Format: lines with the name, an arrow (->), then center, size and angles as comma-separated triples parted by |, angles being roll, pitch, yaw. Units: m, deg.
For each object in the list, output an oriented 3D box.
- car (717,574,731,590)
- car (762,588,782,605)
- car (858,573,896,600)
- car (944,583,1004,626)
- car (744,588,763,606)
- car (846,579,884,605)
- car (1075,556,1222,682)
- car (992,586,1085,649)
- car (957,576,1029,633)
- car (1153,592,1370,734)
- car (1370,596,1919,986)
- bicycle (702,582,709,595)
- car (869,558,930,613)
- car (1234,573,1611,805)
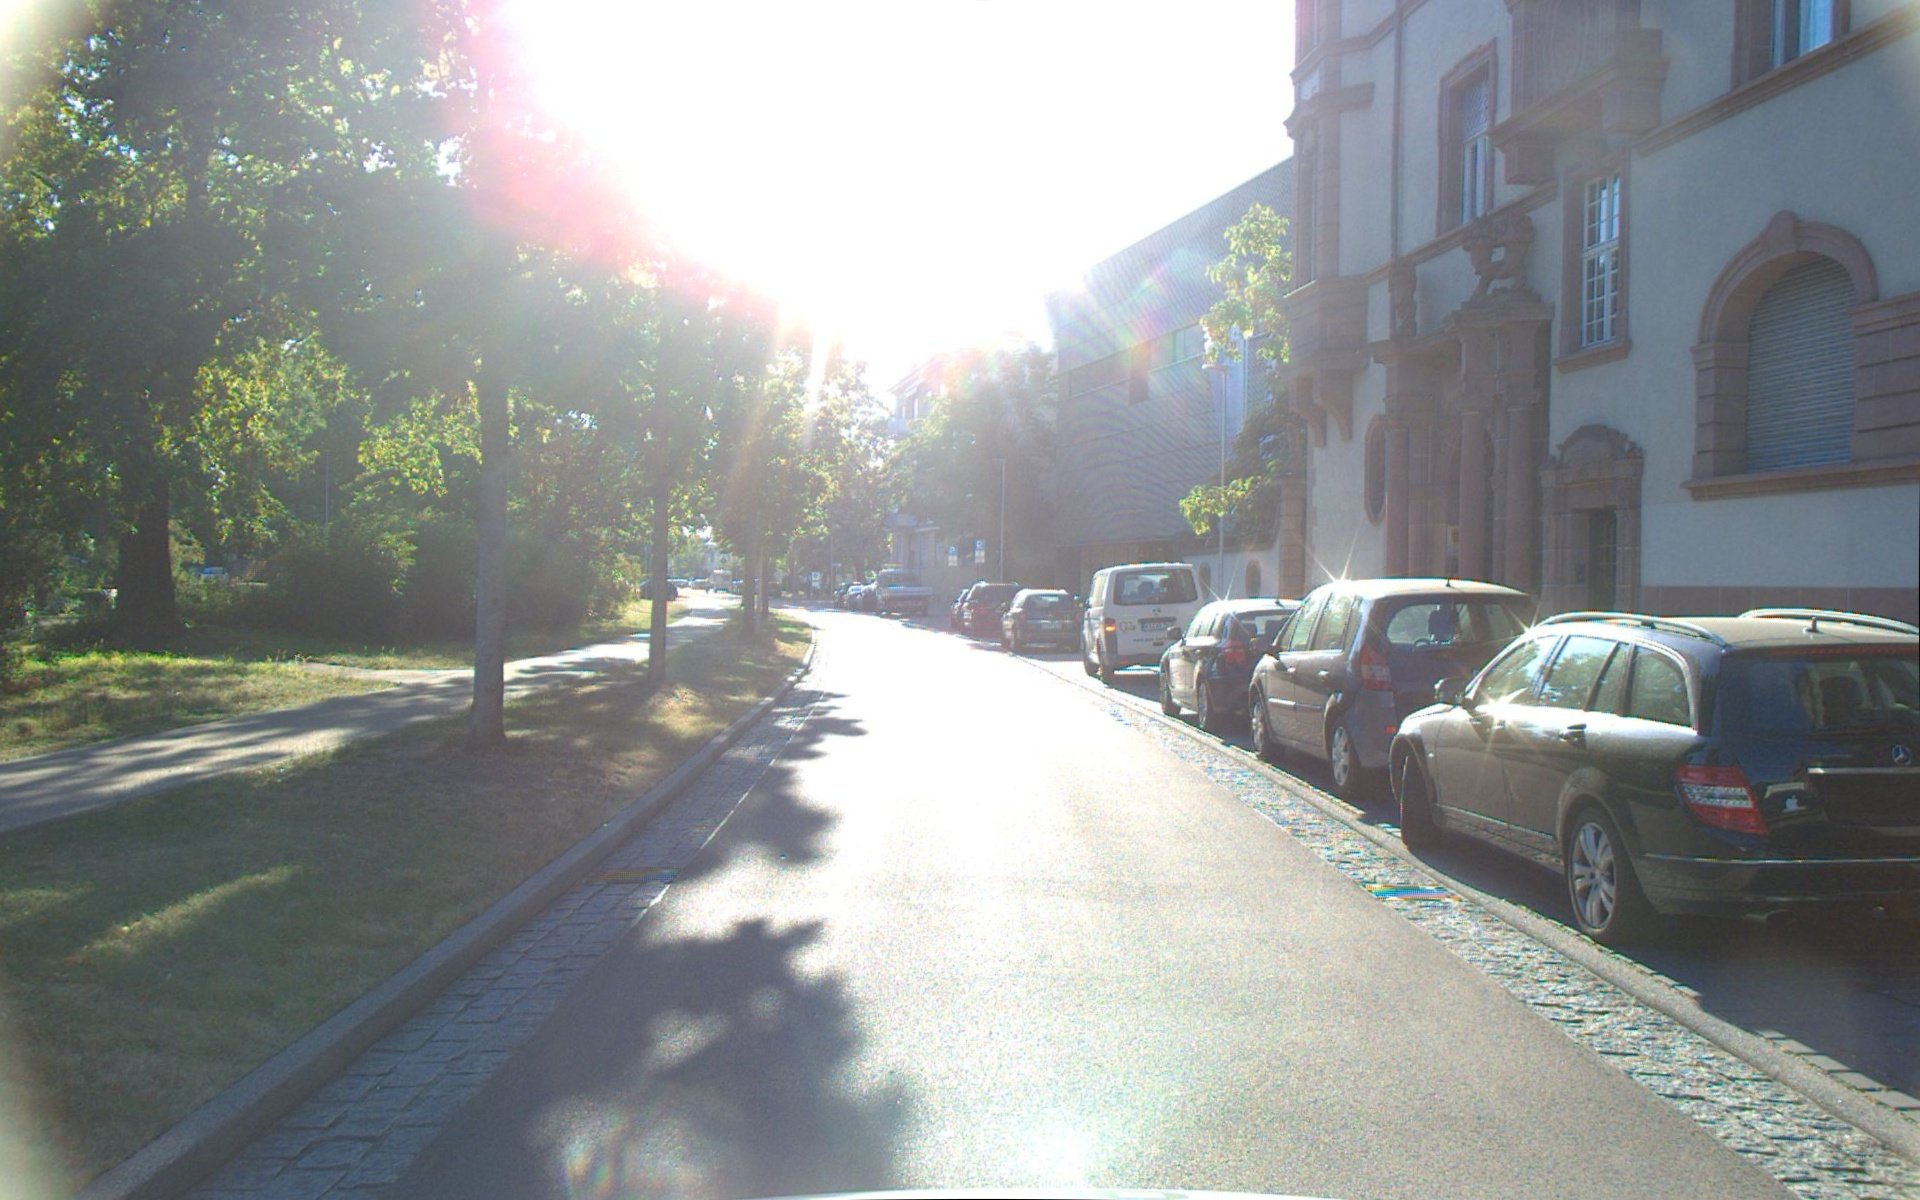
car -> -31.349, -2.377, 219.776 | 1.761, 2.034, 3.991 | 1, 1, -9
car -> -17.601, -0.307, 154.807 | 1.759, 1.536, 3.994 | 1, 1, -7
car -> -4.634, -0.748, 91.992 | 1.660, 1.465, 3.541 | 0, 1, -11
car -> 0.459, 0.131, 58.374 | 1.691, 1.446, 3.901 | 0, 1, -6
car -> -20.977, -0.349, 168.150 | 1.761, 1.754, 3.991 | 1, 1, -9
car -> -5.592, -0.470, 96.963 | 1.660, 1.465, 4.093 | 0, 1, -11
car -> 3.300, 0.291, 29.927 | 1.953, 2.000, 4.848 | -2, 1, -1
car -> 1.922, 0.402, 41.954 | 1.714, 1.492, 4.472 | 1, 0, -6
car -> 1.012, 0.111, 52.302 | 1.691, 1.698, 4.107 | -1, 1, -7
car -> 3.407, 0.653, 19.434 | 1.645, 1.427, 4.198 | -1, 1, -2
car -> 3.752, 0.742, 8.780 | 1.834, 1.461, 4.520 | -1, 1, -3
bicycle -> -26.420, -1.224, 171.642 | 0.675, 1.223, 2.341 | 1, 4, -7
car -> -3.032, -0.738, 81.036 | 2.171, 2.574, 6.134 | -1, 1, -9
car -> 3.669, 0.611, 13.931 | 1.780, 1.630, 4.190 | -1, 1, -4
